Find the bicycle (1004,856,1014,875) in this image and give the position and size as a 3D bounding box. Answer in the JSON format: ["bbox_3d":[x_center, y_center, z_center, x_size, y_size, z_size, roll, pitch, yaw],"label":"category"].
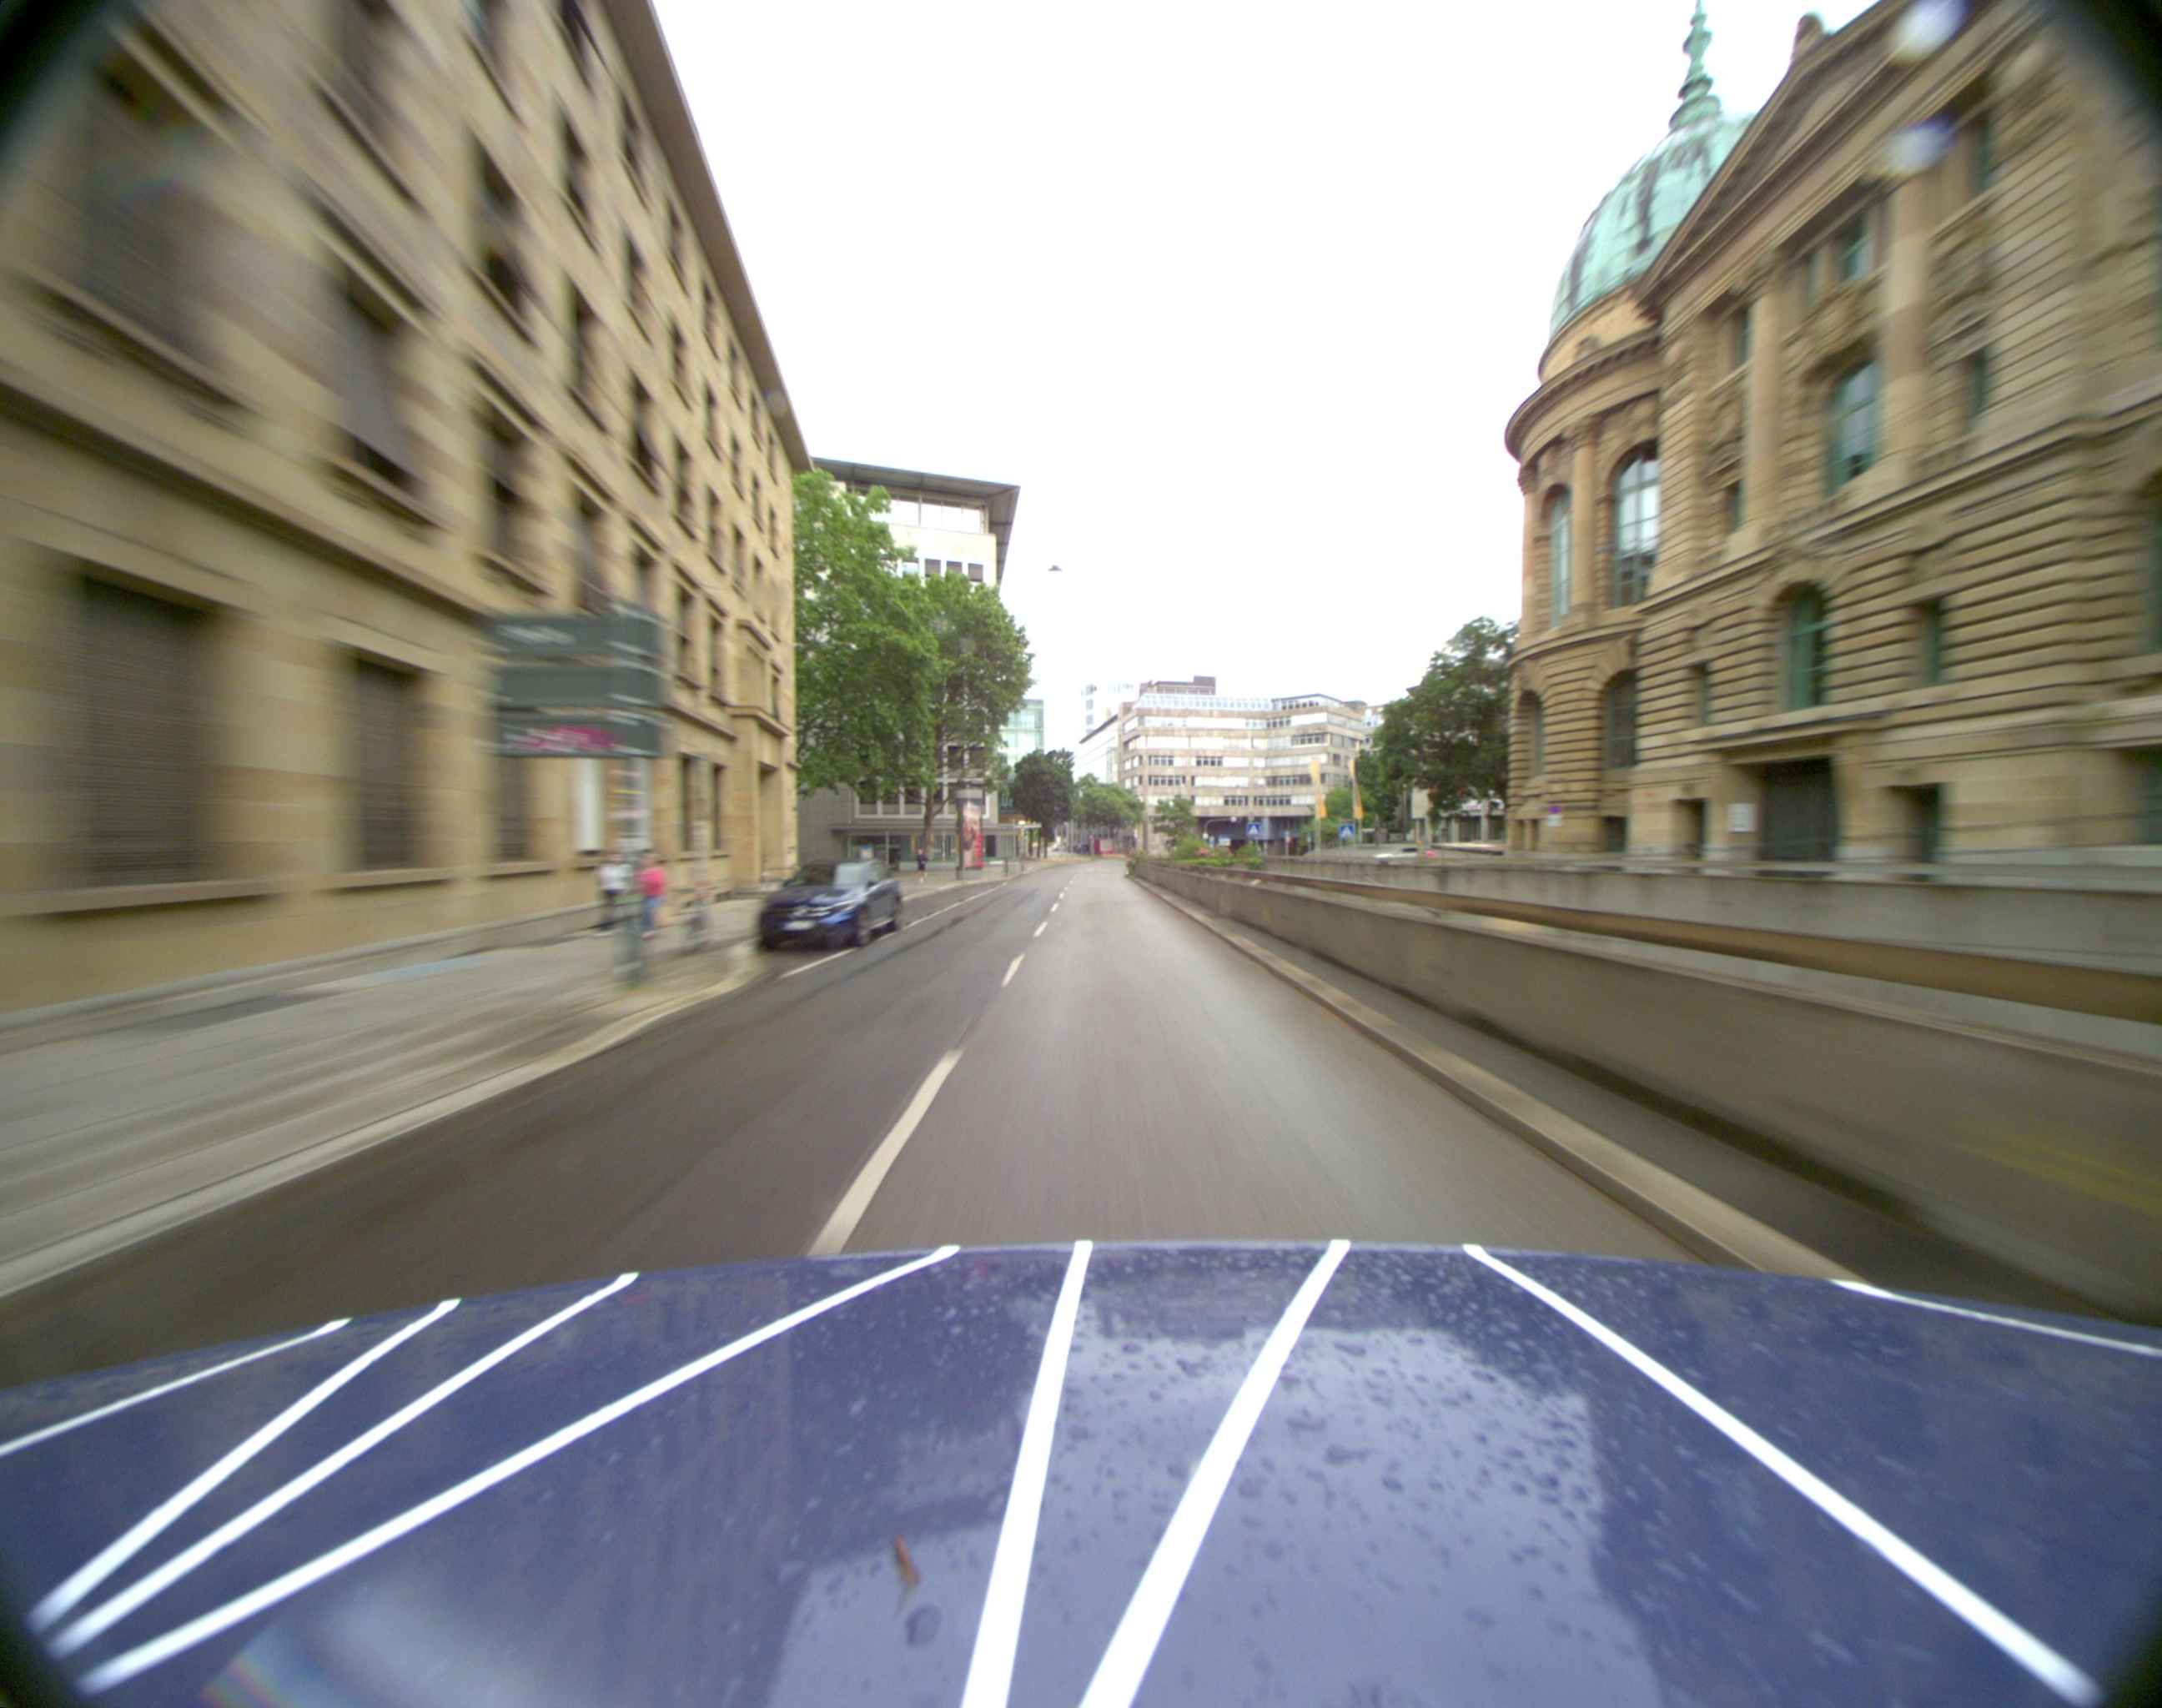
[{"bbox_3d":[-4.149,0.655,43.937,0.490,1.006,1.927,0,1,-2],"label":"bicycle"}]

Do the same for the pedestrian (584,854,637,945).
[{"bbox_3d":[-8.484,0.808,13.721,0.526,1.593,0.673,0,1,-4],"label":"pedestrian"}]

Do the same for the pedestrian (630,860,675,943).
[{"bbox_3d":[-7.954,0.864,14.125,0.526,1.483,0.673,0,1,-11],"label":"pedestrian"}]

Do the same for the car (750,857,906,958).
[{"bbox_3d":[-4.825,0.931,15.148,1.773,1.610,4.156,-1,1,-1],"label":"car"}]

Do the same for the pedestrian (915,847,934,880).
[{"bbox_3d":[-8.249,0.494,40.149,0.781,1.762,0.863,0,1,3],"label":"pedestrian"}]

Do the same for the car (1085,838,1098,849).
[{"bbox_3d":[1.831,-1.909,137.291,1.999,2.068,3.998,-1,1,-4],"label":"car"}]

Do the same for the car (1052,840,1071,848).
[{"bbox_3d":[-4.380,-2.186,172.047,3.776,1.641,1.795,2,1,-23],"label":"car"}]
